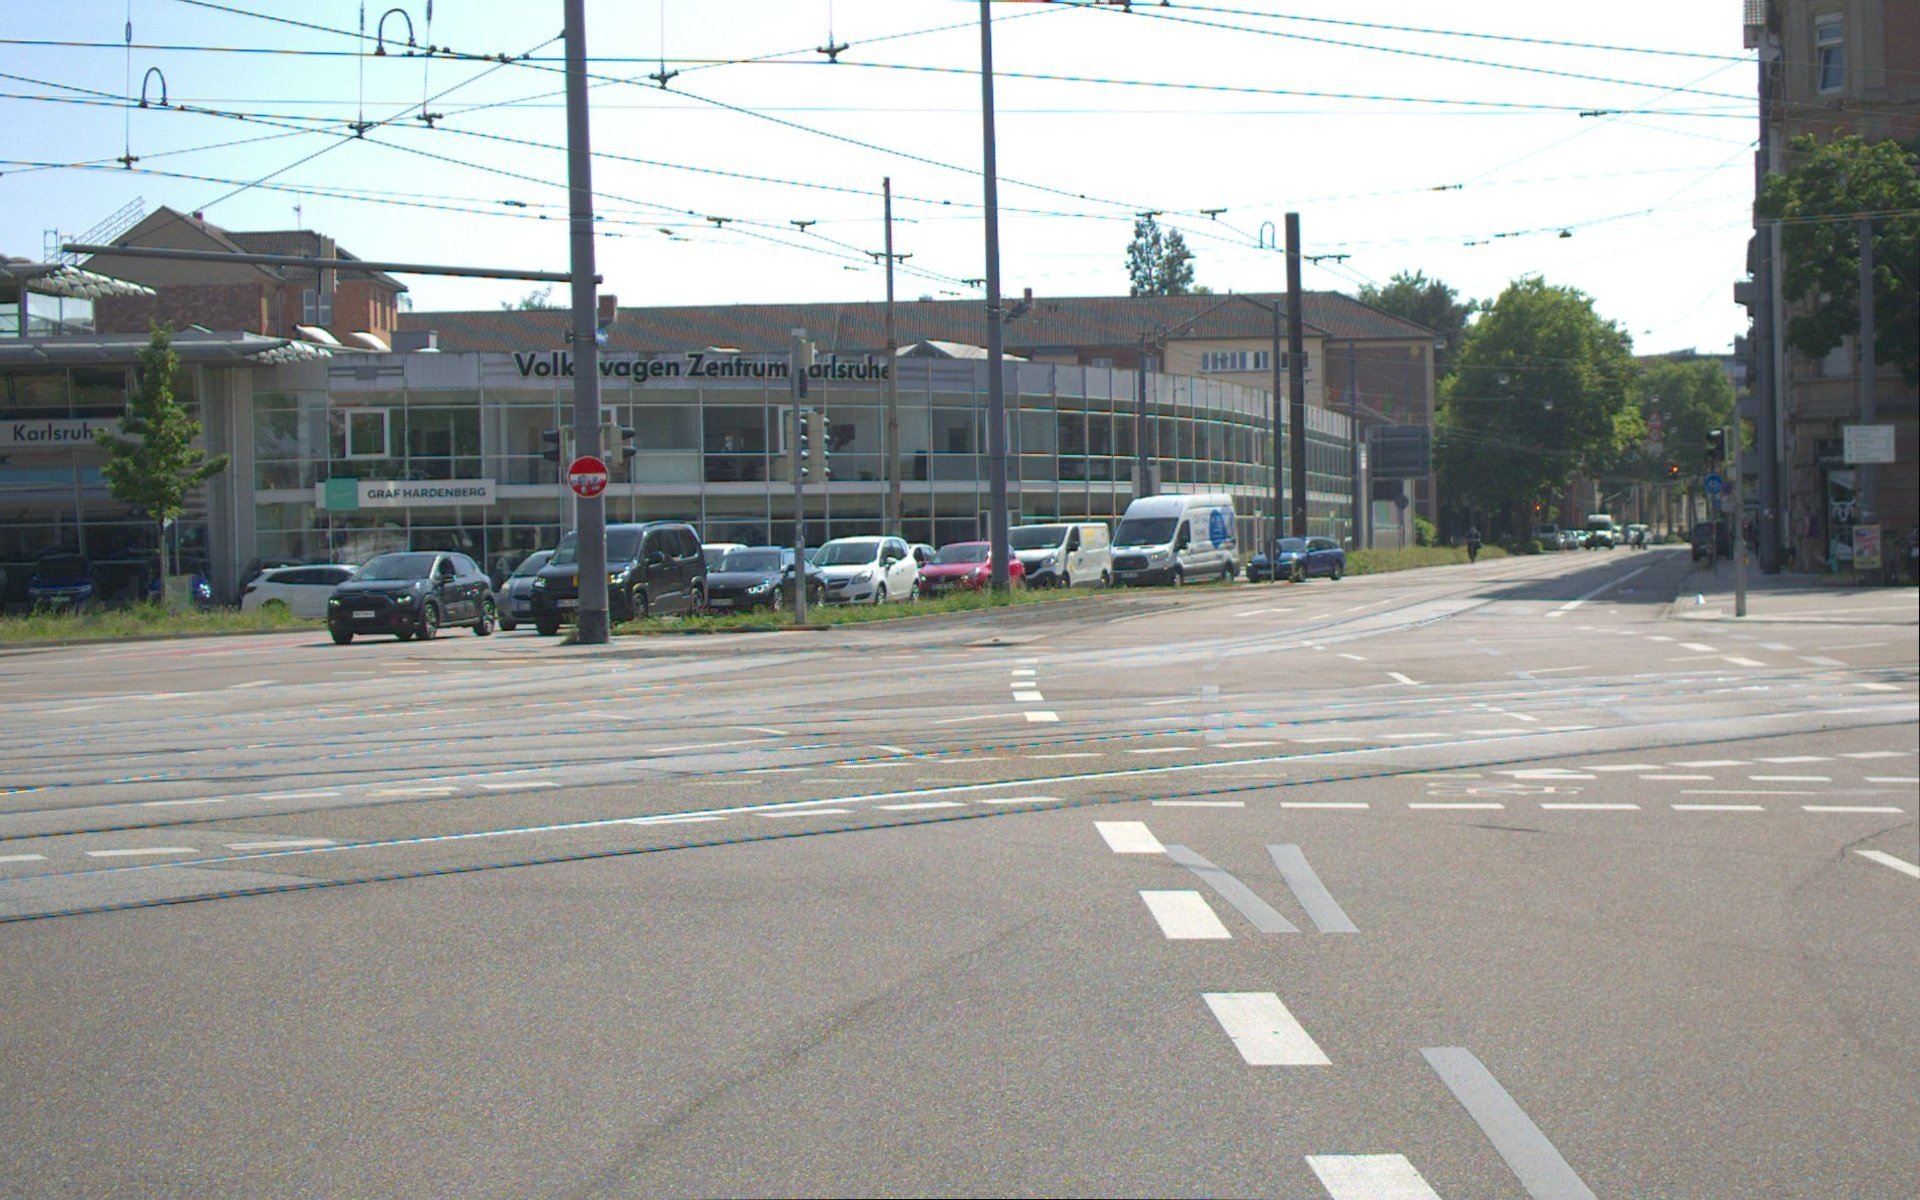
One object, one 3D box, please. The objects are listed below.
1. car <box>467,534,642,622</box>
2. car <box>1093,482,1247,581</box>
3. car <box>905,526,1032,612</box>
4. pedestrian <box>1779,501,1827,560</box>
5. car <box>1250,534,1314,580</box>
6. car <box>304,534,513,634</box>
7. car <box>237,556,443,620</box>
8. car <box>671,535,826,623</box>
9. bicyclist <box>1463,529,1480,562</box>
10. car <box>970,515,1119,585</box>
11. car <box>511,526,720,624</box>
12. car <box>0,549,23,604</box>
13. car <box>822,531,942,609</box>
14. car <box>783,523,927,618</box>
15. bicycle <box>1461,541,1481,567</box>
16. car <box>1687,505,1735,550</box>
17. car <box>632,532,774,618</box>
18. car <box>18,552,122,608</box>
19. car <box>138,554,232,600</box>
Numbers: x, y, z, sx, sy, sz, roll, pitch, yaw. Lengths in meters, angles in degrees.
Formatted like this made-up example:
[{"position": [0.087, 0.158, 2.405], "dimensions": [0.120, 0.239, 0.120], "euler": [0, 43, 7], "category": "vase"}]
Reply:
[{"position": [-7.588, -0.398, 64.702], "dimensions": [1.895, 1.582, 3.997], "euler": [-1, 0, 15], "category": "car"}, {"position": [5.792, -1.831, 94.022], "dimensions": [2.211, 2.567, 5.867], "euler": [1, 0, 24], "category": "car"}, {"position": [0.221, -0.689, 79.634], "dimensions": [1.895, 1.910, 4.197], "euler": [-1, 0, 15], "category": "car"}, {"position": [20.911, -1.720, 85.326], "dimensions": [0.710, 1.428, 0.886], "euler": [-2, 1, -39], "category": "pedestrian"}, {"position": [10.265, -1.346, 109.431], "dimensions": [1.385, 1.409, 3.010], "euler": [1, 0, 18], "category": "car"}, {"position": [-9.263, -0.257, 58.041], "dimensions": [1.893, 1.582, 4.207], "euler": [-1, 0, 15], "category": "car"}, {"position": [-14.681, -0.279, 81.436], "dimensions": [4.587, 1.431, 1.443], "euler": [1, 0, 12], "category": "car"}, {"position": [-3.976, -0.383, 65.336], "dimensions": [1.895, 1.582, 3.998], "euler": [-1, 0, 13], "category": "car"}, {"position": [24.611, -2.598, 165.386], "dimensions": [0.752, 1.562, 1.086], "euler": [1, 0, 12], "category": "bicyclist"}, {"position": [2.181, -1.270, 86.715], "dimensions": [2.187, 1.675, 5.024], "euler": [-1, 1, 21], "category": "car"}, {"position": [-5.817, -0.453, 58.736], "dimensions": [1.962, 1.582, 4.713], "euler": [-1, 1, 15], "category": "car"}, {"position": [-27.093, -0.641, 94.020], "dimensions": [1.993, 1.481, 4.001], "euler": [-1, 1, -3], "category": "car"}, {"position": [-1.877, -0.713, 84.148], "dimensions": [1.808, 1.840, 4.197], "euler": [-1, 0, 15], "category": "car"}, {"position": [-2.180, -0.605, 72.674], "dimensions": [1.895, 1.910, 4.197], "euler": [-1, 0, 15], "category": "car"}, {"position": [24.598, -2.197, 165.349], "dimensions": [0.752, 1.190, 2.837], "euler": [1, 0, 12], "category": "bicycle"}, {"position": [35.147, -3.394, 160.841], "dimensions": [2.110, 2.007, 3.998], "euler": [1, 0, 13], "category": "car"}, {"position": [-5.369, -0.509, 72.274], "dimensions": [1.652, 1.733, 4.197], "euler": [-1, 0, 15], "category": "car"}, {"position": [-24.310, -0.556, 94.061], "dimensions": [1.993, 1.481, 4.001], "euler": [1, 0, -3], "category": "car"}, {"position": [-21.108, -0.622, 93.751], "dimensions": [1.830, 1.191, 4.000], "euler": [1, 0, -3], "category": "car"}]
